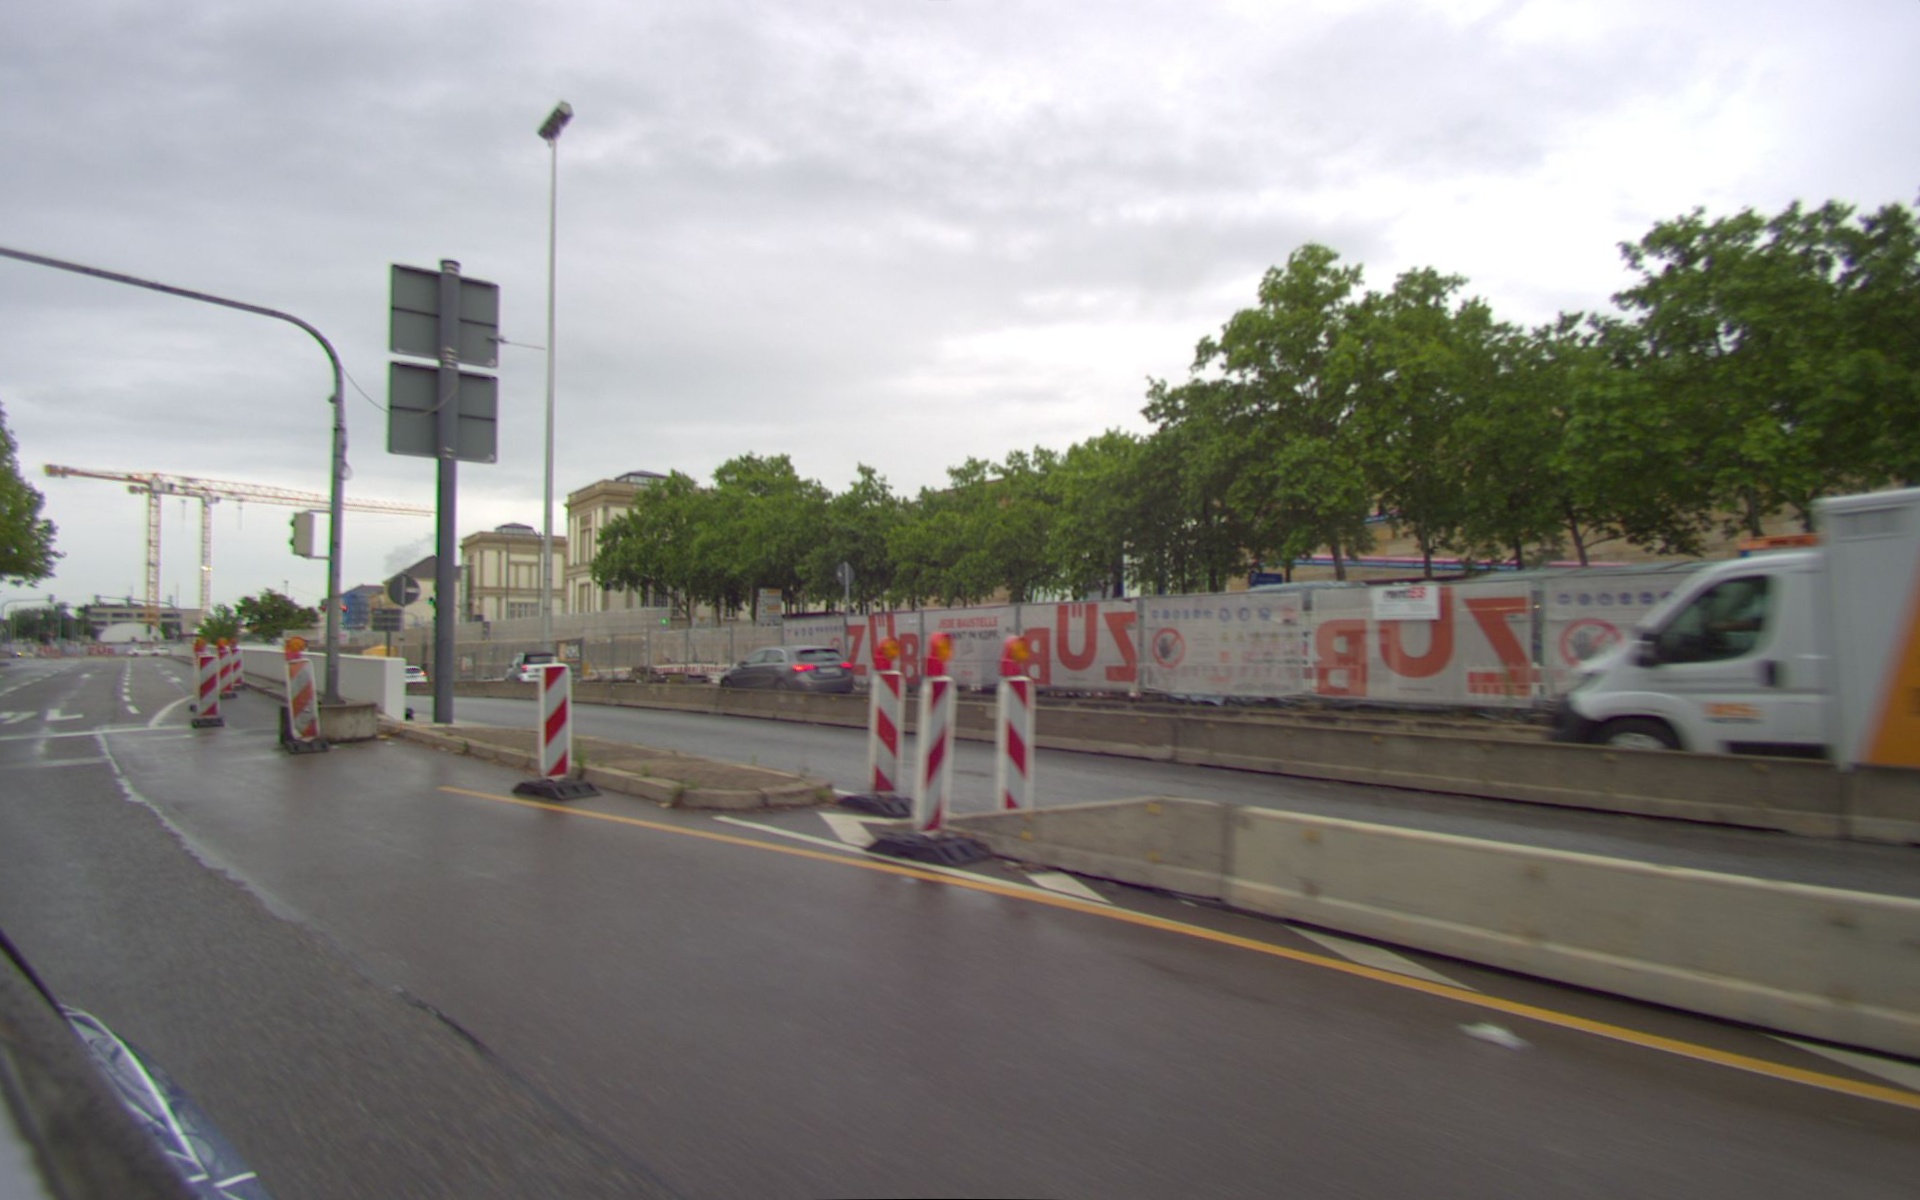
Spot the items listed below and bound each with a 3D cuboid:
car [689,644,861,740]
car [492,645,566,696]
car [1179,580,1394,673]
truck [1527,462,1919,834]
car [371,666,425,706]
[{"bbox_3d":[-4.557,2.124,24.421,1.884,2.029,4.765,4,-4,-41],"label":"car"},{"bbox_3d":[-16.727,2.689,39.219,1.679,1.882,3.362,3,-4,-41],"label":"car"},{"bbox_3d":[7.967,0.735,25.144,1.967,2.029,4.726,1,-5,-37],"label":"car"},{"bbox_3d":[8.623,0.326,7.429,2.367,2.740,7.368,2,-4,-38],"label":"truck"},{"bbox_3d":[-31.216,4.732,56.173,1.874,2.029,4.007,3,-4,-39],"label":"car"}]
